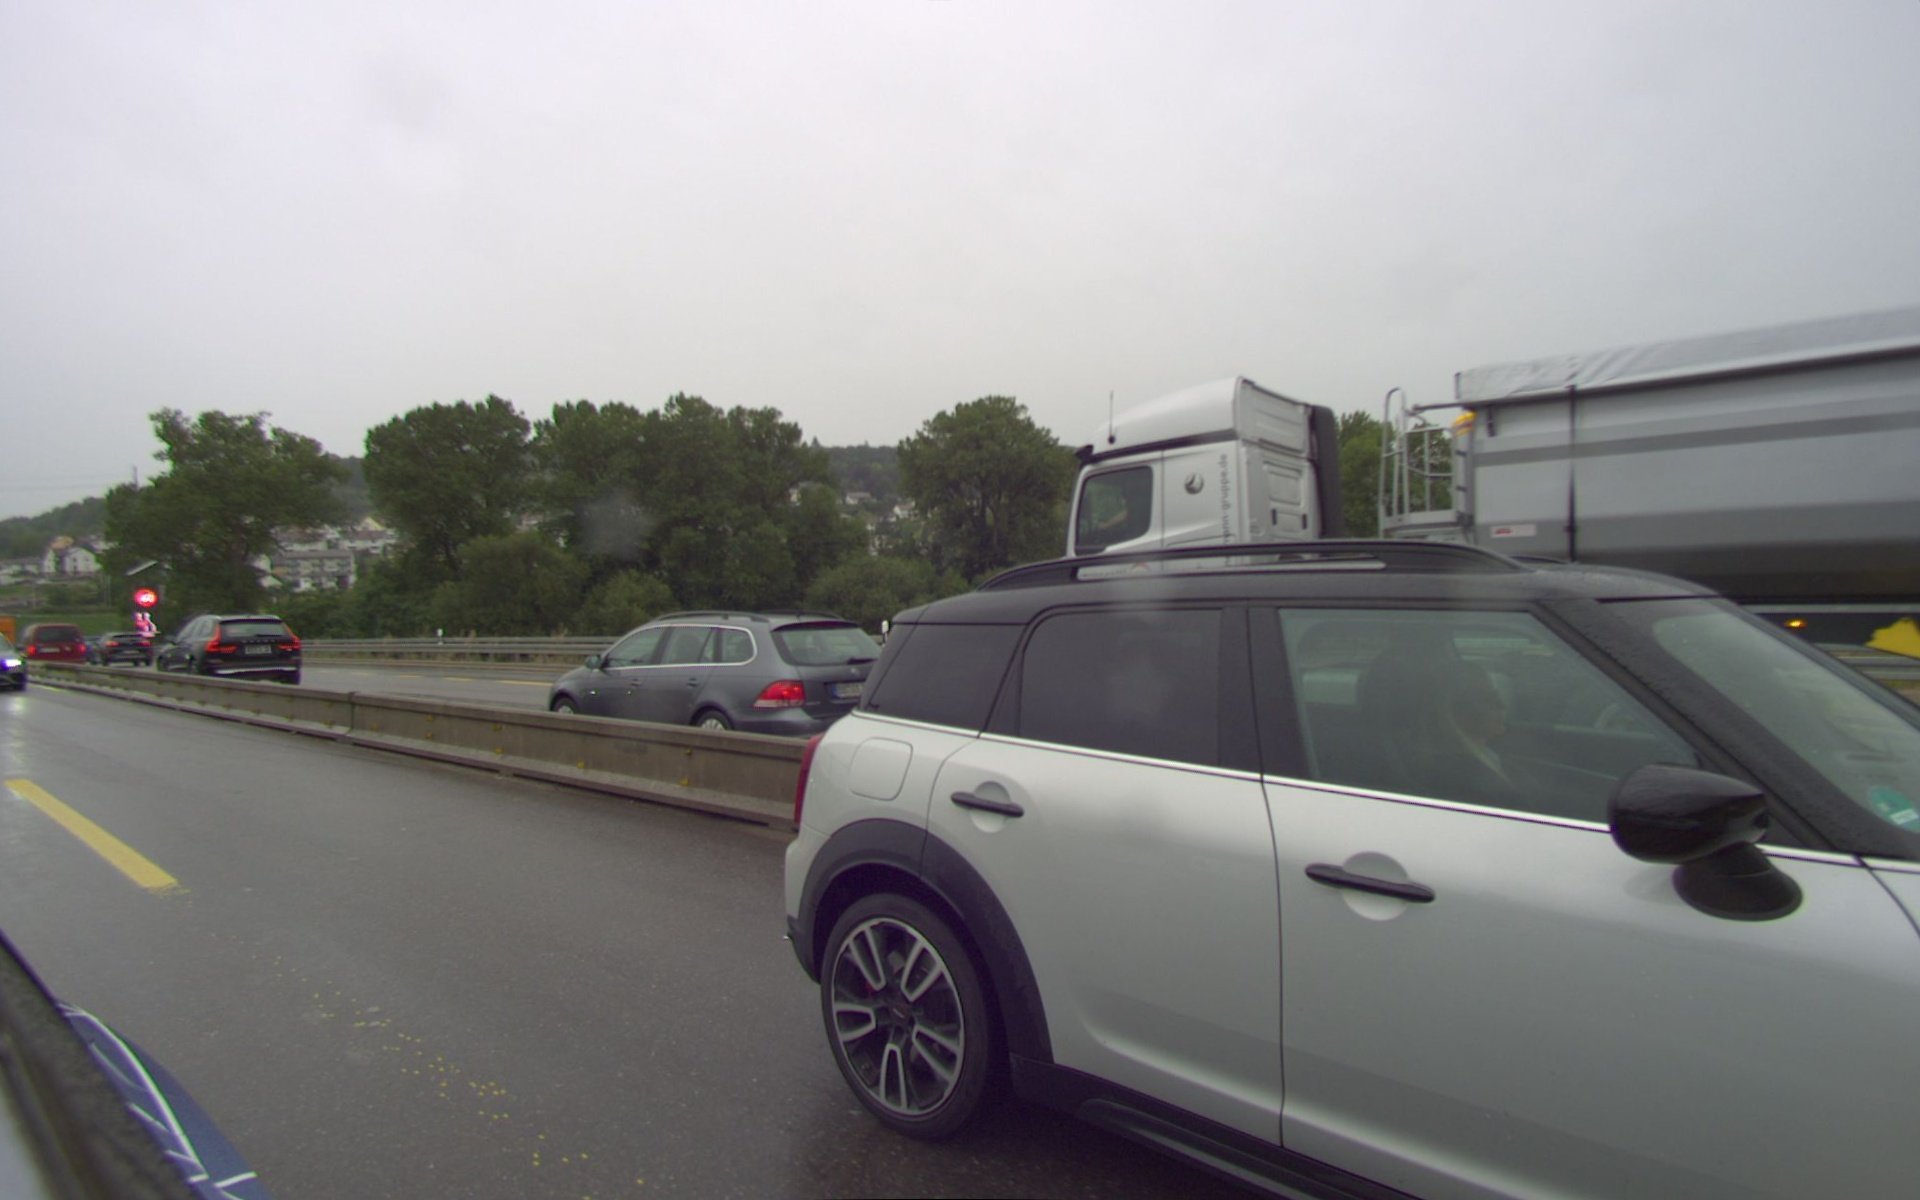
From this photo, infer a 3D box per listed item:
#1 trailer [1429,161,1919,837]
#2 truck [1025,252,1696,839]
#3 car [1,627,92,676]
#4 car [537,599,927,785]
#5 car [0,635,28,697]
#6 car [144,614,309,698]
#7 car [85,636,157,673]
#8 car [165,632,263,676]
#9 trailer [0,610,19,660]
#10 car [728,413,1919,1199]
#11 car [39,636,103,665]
[{"bbox_3d":[8.198,-0.641,5.553,9.813,3.994,2.658,-2,-2,41],"label":"trailer"},{"bbox_3d":[3.530,-0.299,9.551,5.270,3.957,2.658,-2,-2,41],"label":"truck"},{"bbox_3d":[-34.695,1.965,38.401,4.839,1.762,1.827,-3,-4,39],"label":"car"},{"bbox_3d":[-2.380,0.780,9.994,3.997,1.464,1.692,-2,-1,41],"label":"car"},{"bbox_3d":[-24.722,1.622,25.077,4.481,1.449,1.926,-2,-1,41],"label":"car"},{"bbox_3d":[-16.253,1.185,22.361,4.467,1.668,1.973,-2,-2,41],"label":"car"},{"bbox_3d":[-37.555,2.432,45.259,3.996,1.508,1.802,-4,-2,40],"label":"car"},{"bbox_3d":[-28.535,2.072,38.677,4.263,1.589,1.828,-3,-4,37],"label":"car"},{"bbox_3d":[-81.241,3.096,83.993,13.692,3.938,3.243,-3,-2,41],"label":"trailer"},{"bbox_3d":[1.487,0.563,2.446,4.306,1.612,1.797,-3,-1,41],"label":"car"},{"bbox_3d":[-50.859,2.922,57.847,4.741,1.522,1.974,-3,-1,39],"label":"car"}]
